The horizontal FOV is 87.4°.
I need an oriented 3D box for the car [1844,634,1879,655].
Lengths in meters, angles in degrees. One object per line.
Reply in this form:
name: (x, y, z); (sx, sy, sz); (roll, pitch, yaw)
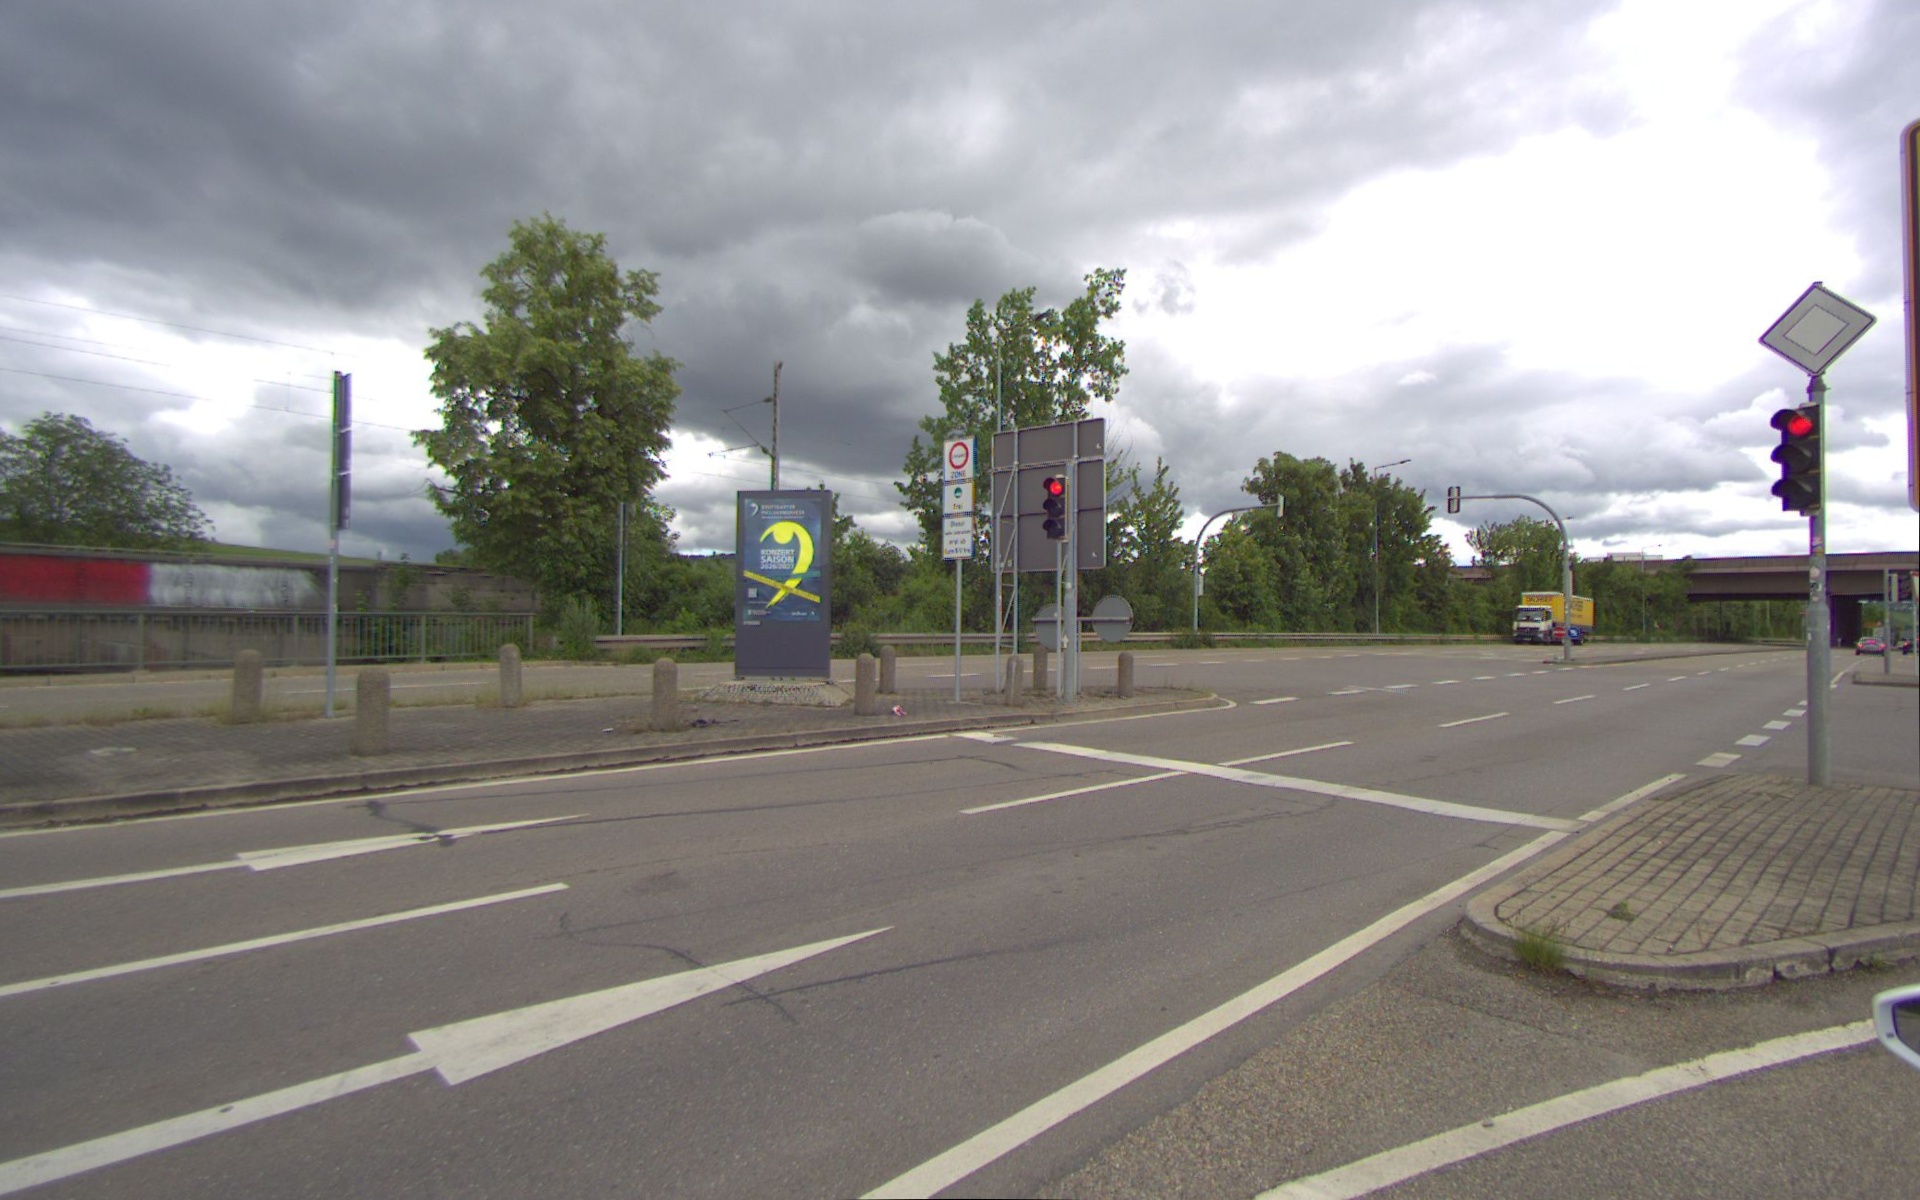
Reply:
car: (70.766, 3.517, 78.832); (1.972, 1.461, 4.088); (1, -2, 43)

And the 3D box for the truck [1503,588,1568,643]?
truck: (46.119, 1.245, 80.431); (6.445, 4.139, 2.843); (1, 1, -45)

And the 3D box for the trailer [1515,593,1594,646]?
trailer: (49.993, 1.594, 84.313); (11.352, 4.139, 2.842); (1, 1, -45)

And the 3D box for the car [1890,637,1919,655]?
car: (84.331, 4.116, 89.553); (1.972, 1.483, 4.087); (1, -2, 43)

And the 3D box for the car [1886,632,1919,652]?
car: (105.129, 4.692, 110.757); (3.925, 1.885, 1.998); (3, 2, 26)
